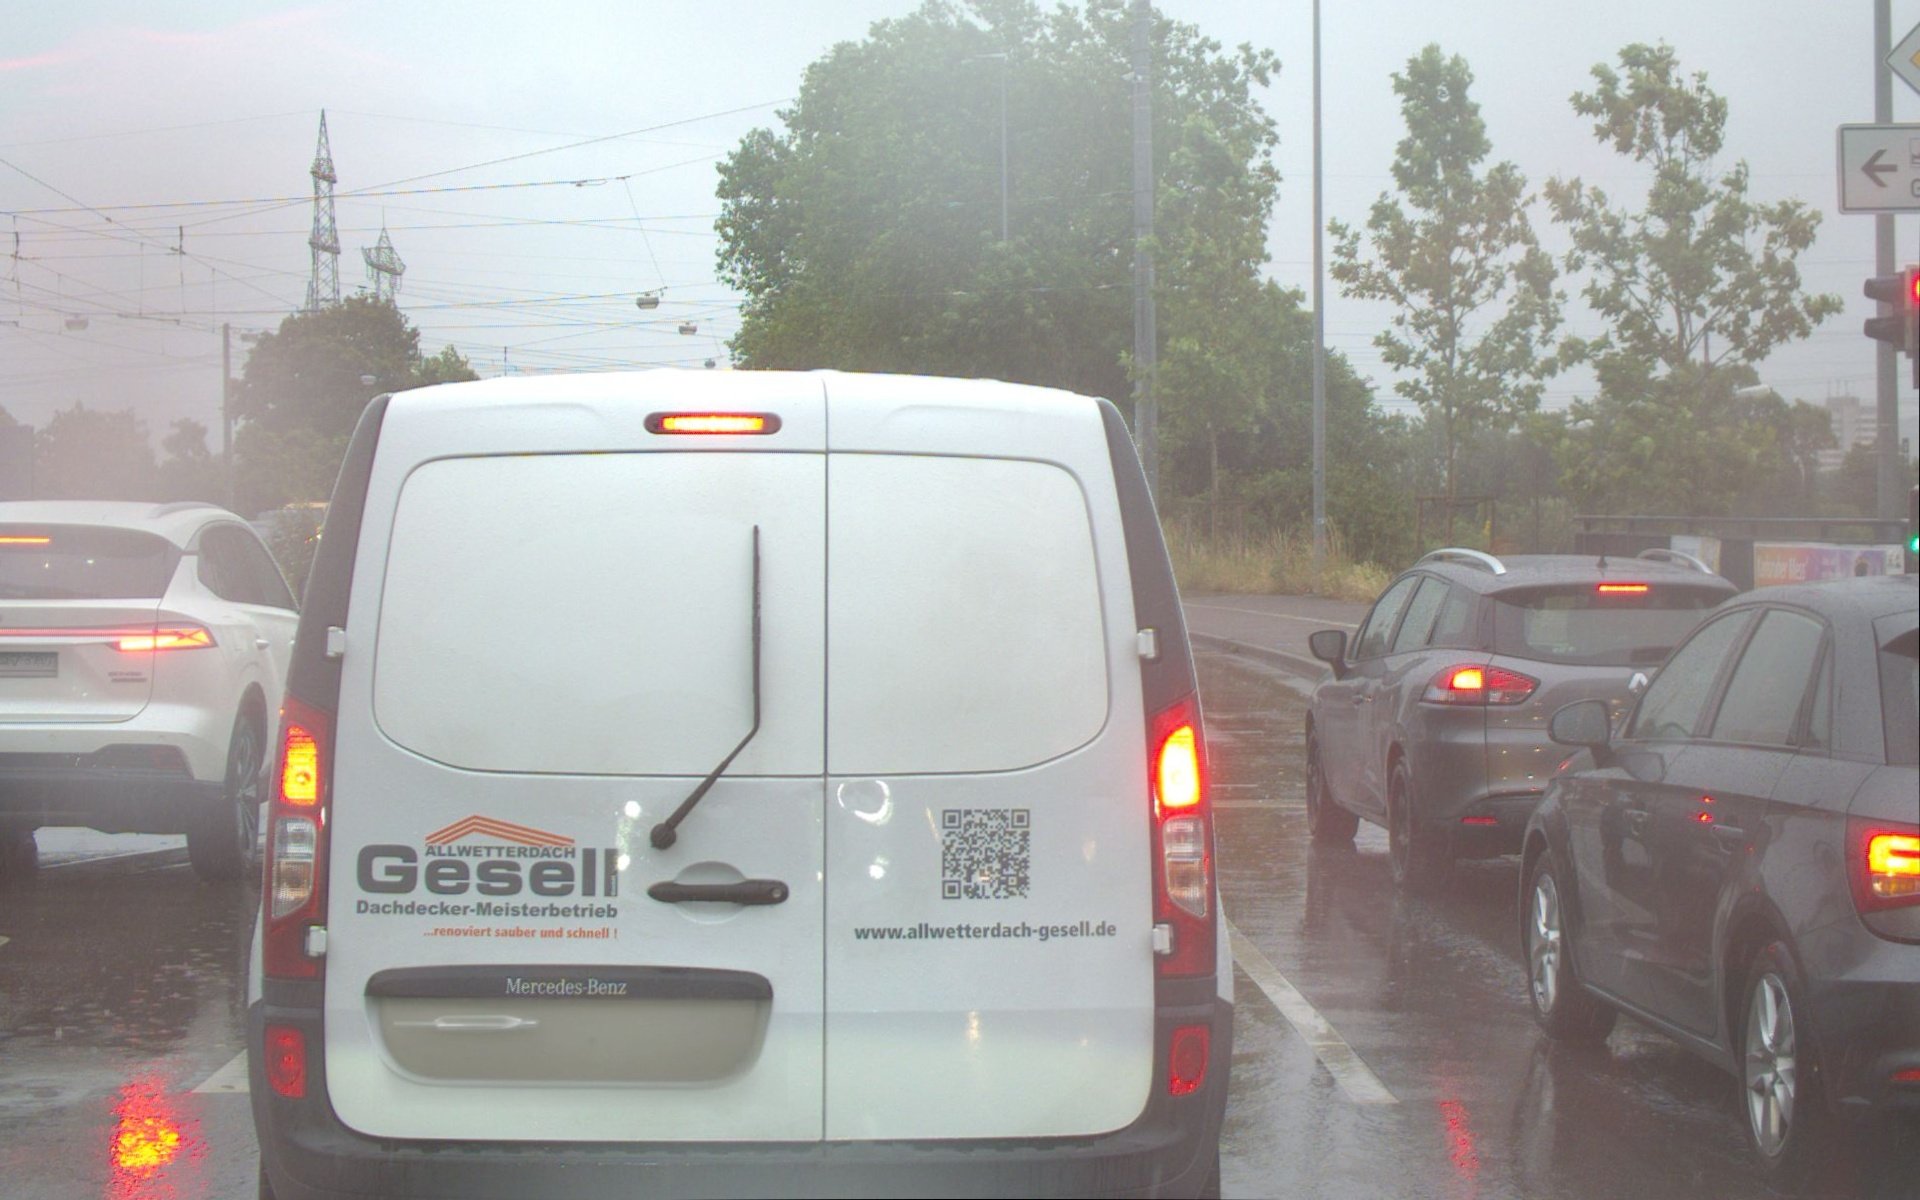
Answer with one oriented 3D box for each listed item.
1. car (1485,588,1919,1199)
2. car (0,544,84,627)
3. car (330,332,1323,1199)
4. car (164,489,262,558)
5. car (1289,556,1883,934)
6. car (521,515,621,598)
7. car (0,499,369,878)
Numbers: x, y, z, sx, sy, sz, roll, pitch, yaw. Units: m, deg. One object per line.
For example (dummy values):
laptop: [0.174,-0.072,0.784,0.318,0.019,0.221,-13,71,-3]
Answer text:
car: [2.515,0.664,8.935,1.629,1.340,3.624,1,1,-2]
car: [-21.330,-0.352,77.442,1.929,1.820,3.999,1,1,4]
car: [-0.233,0.445,7.449,1.566,1.782,4.000,0,1,-1]
car: [-22.564,-2.296,103.981,1.993,2.007,4.000,1,1,1]
car: [2.660,0.552,15.506,1.859,1.424,3.808,1,1,-2]
car: [-7.358,-0.826,64.842,1.614,1.498,3.716,1,1,-10]
car: [-3.955,0.301,16.121,1.728,1.530,4.298,1,1,-2]
